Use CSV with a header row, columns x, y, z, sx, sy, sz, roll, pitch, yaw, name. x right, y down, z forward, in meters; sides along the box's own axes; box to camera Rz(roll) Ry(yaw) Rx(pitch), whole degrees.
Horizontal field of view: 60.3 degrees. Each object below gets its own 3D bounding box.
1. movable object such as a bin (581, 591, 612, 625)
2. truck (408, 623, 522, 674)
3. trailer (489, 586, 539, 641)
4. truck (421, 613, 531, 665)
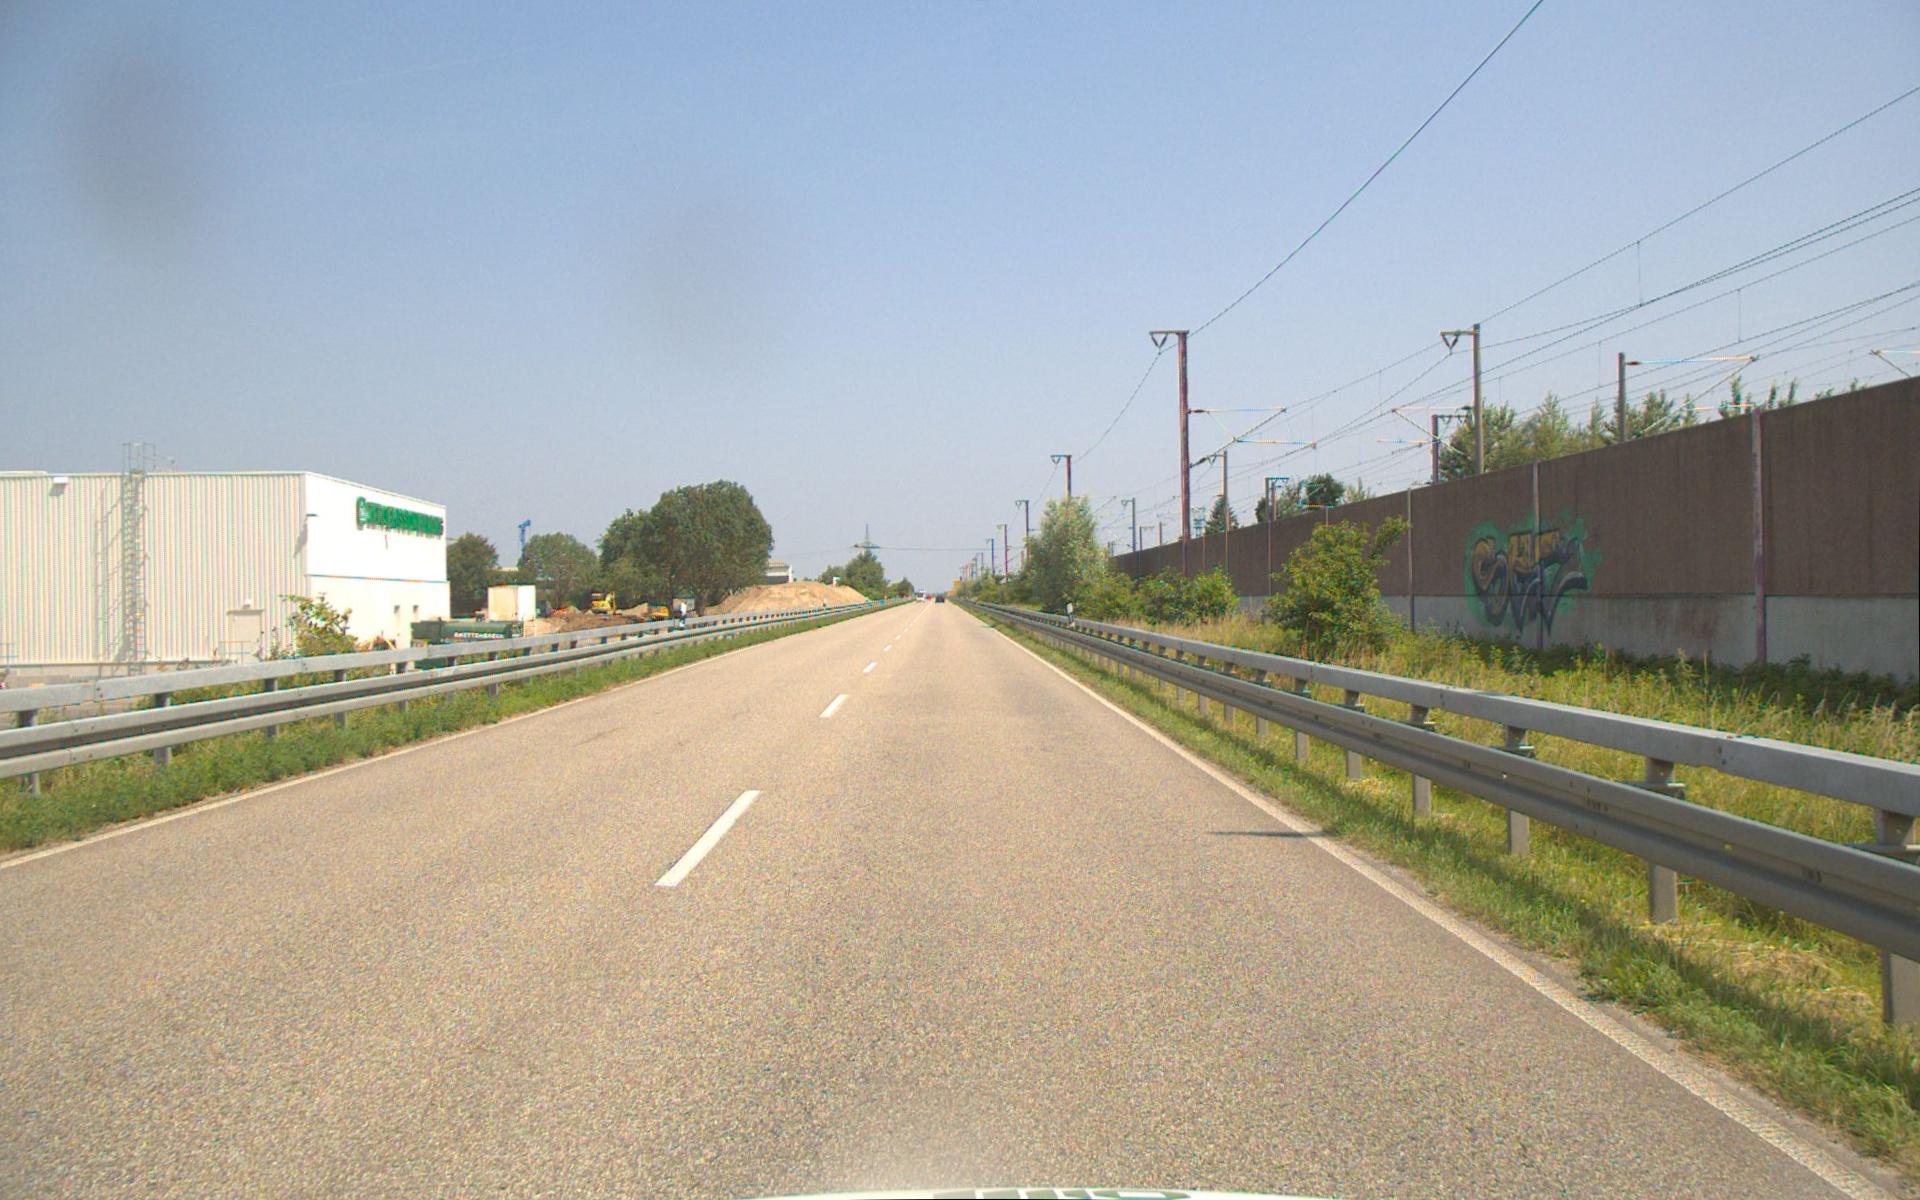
x,y,z,sx,sy,sz,roll,pitch,yaw,name
-41.421,0.914,188.314,2.582,3.716,5.430,-3,0,-19,movable object such as a bin
-24.142,2.360,80.798,4.907,2.374,2.232,0,0,-1,truck
-36.965,1.071,137.275,2.626,4.408,7.945,0,1,-5,trailer
-24.539,1.955,84.013,4.946,2.582,2.271,0,-1,-6,truck
